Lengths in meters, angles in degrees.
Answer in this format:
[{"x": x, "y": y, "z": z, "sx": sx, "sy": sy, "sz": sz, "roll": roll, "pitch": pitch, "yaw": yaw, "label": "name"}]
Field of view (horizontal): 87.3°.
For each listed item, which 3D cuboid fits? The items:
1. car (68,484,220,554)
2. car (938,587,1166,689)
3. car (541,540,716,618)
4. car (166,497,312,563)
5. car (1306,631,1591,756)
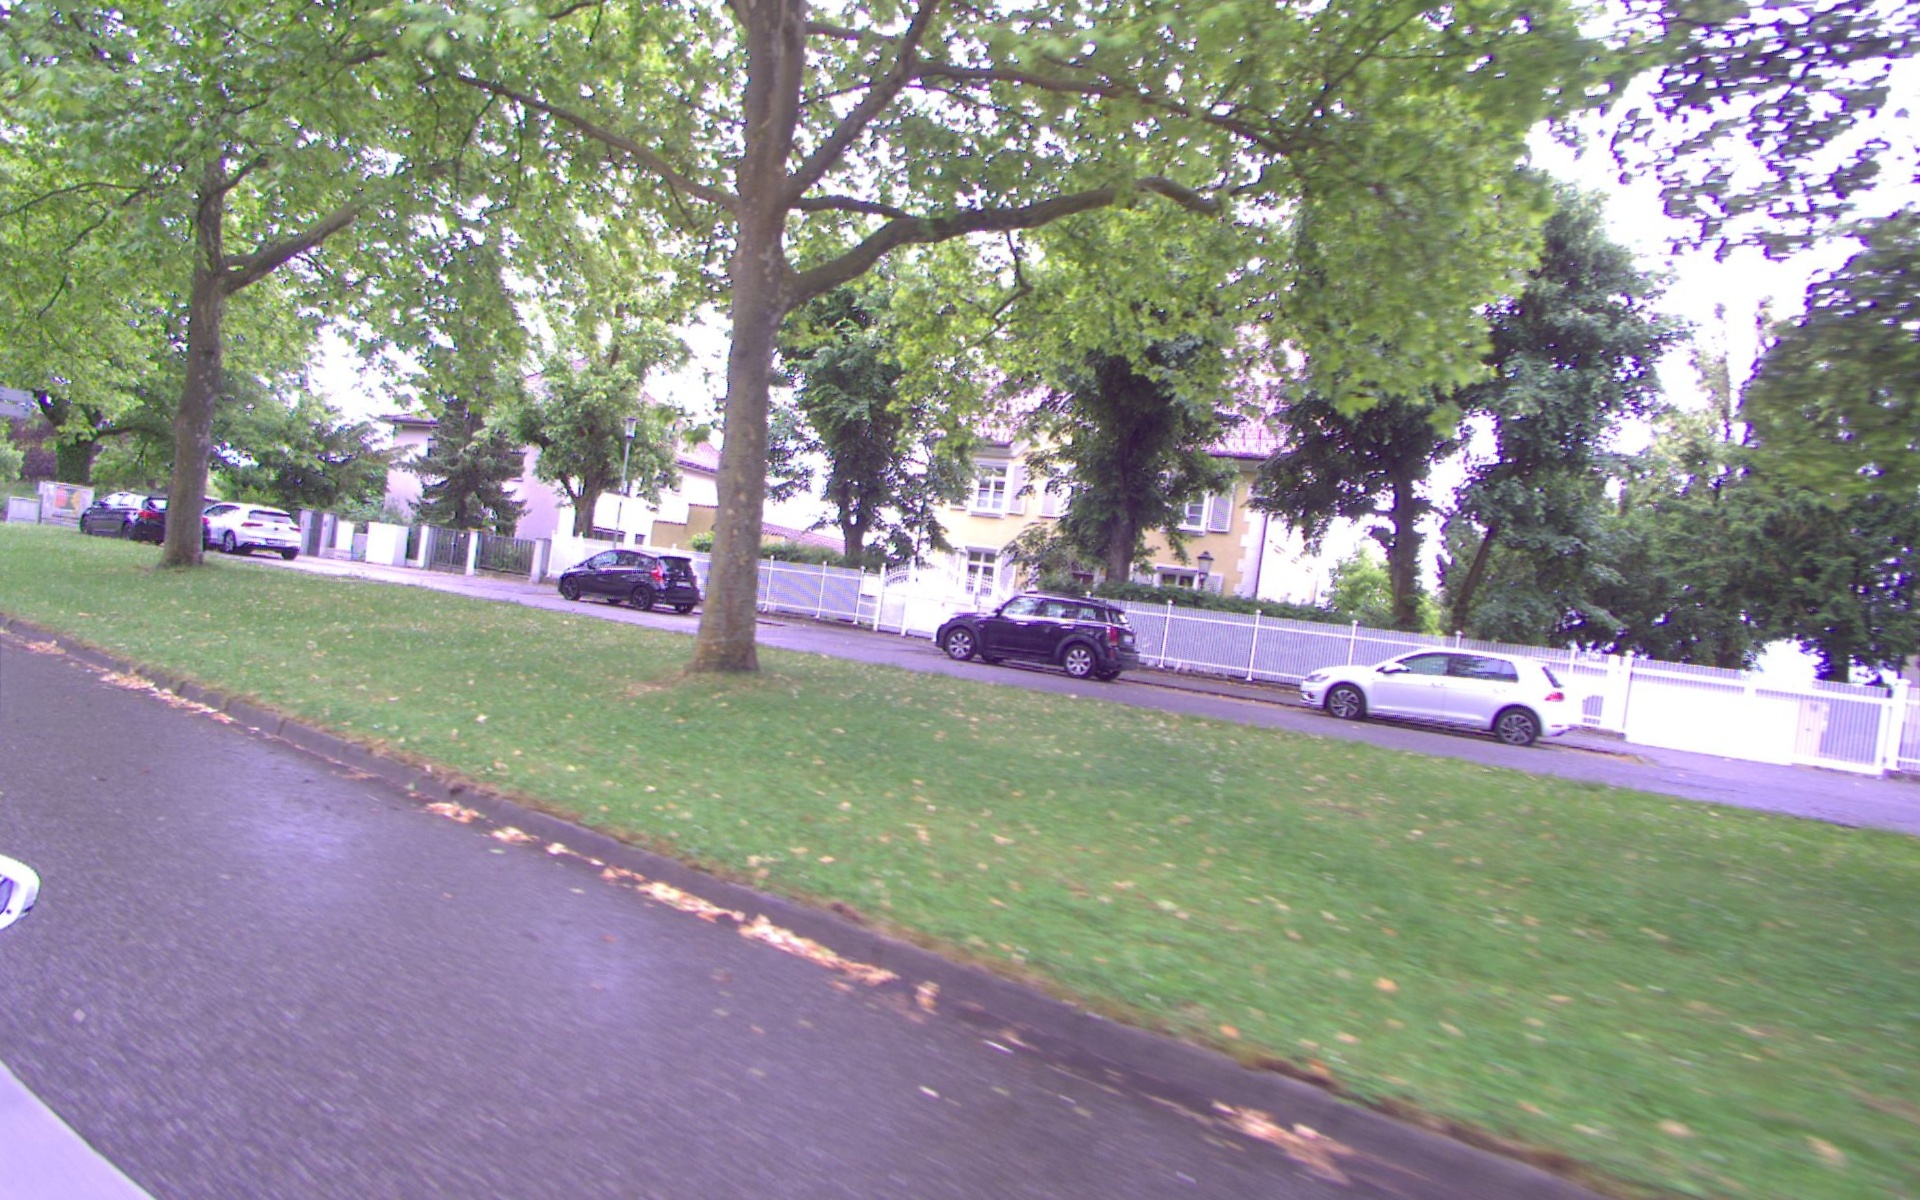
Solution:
[{"x": -22.590, "y": -2.250, "z": 27.801, "sx": 4.521, "sy": 1.490, "sz": 1.765, "roll": 6, "pitch": 1, "yaw": 31, "label": "car"}, {"x": 1.878, "y": 0.771, "z": 20.535, "sx": 4.053, "sy": 1.488, "sz": 1.999, "roll": 6, "pitch": -2, "yaw": 28, "label": "car"}, {"x": -8.719, "y": -0.550, "z": 26.370, "sx": 4.281, "sy": 1.488, "sz": 1.764, "roll": 6, "pitch": -1, "yaw": 28, "label": "car"}, {"x": -21.542, "y": -2.093, "z": 30.040, "sx": 4.351, "sy": 1.489, "sz": 1.847, "roll": 6, "pitch": 0, "yaw": 30, "label": "car"}, {"x": 8.308, "y": 1.567, "z": 17.342, "sx": 4.053, "sy": 1.465, "sz": 1.999, "roll": 6, "pitch": -2, "yaw": 28, "label": "car"}]
